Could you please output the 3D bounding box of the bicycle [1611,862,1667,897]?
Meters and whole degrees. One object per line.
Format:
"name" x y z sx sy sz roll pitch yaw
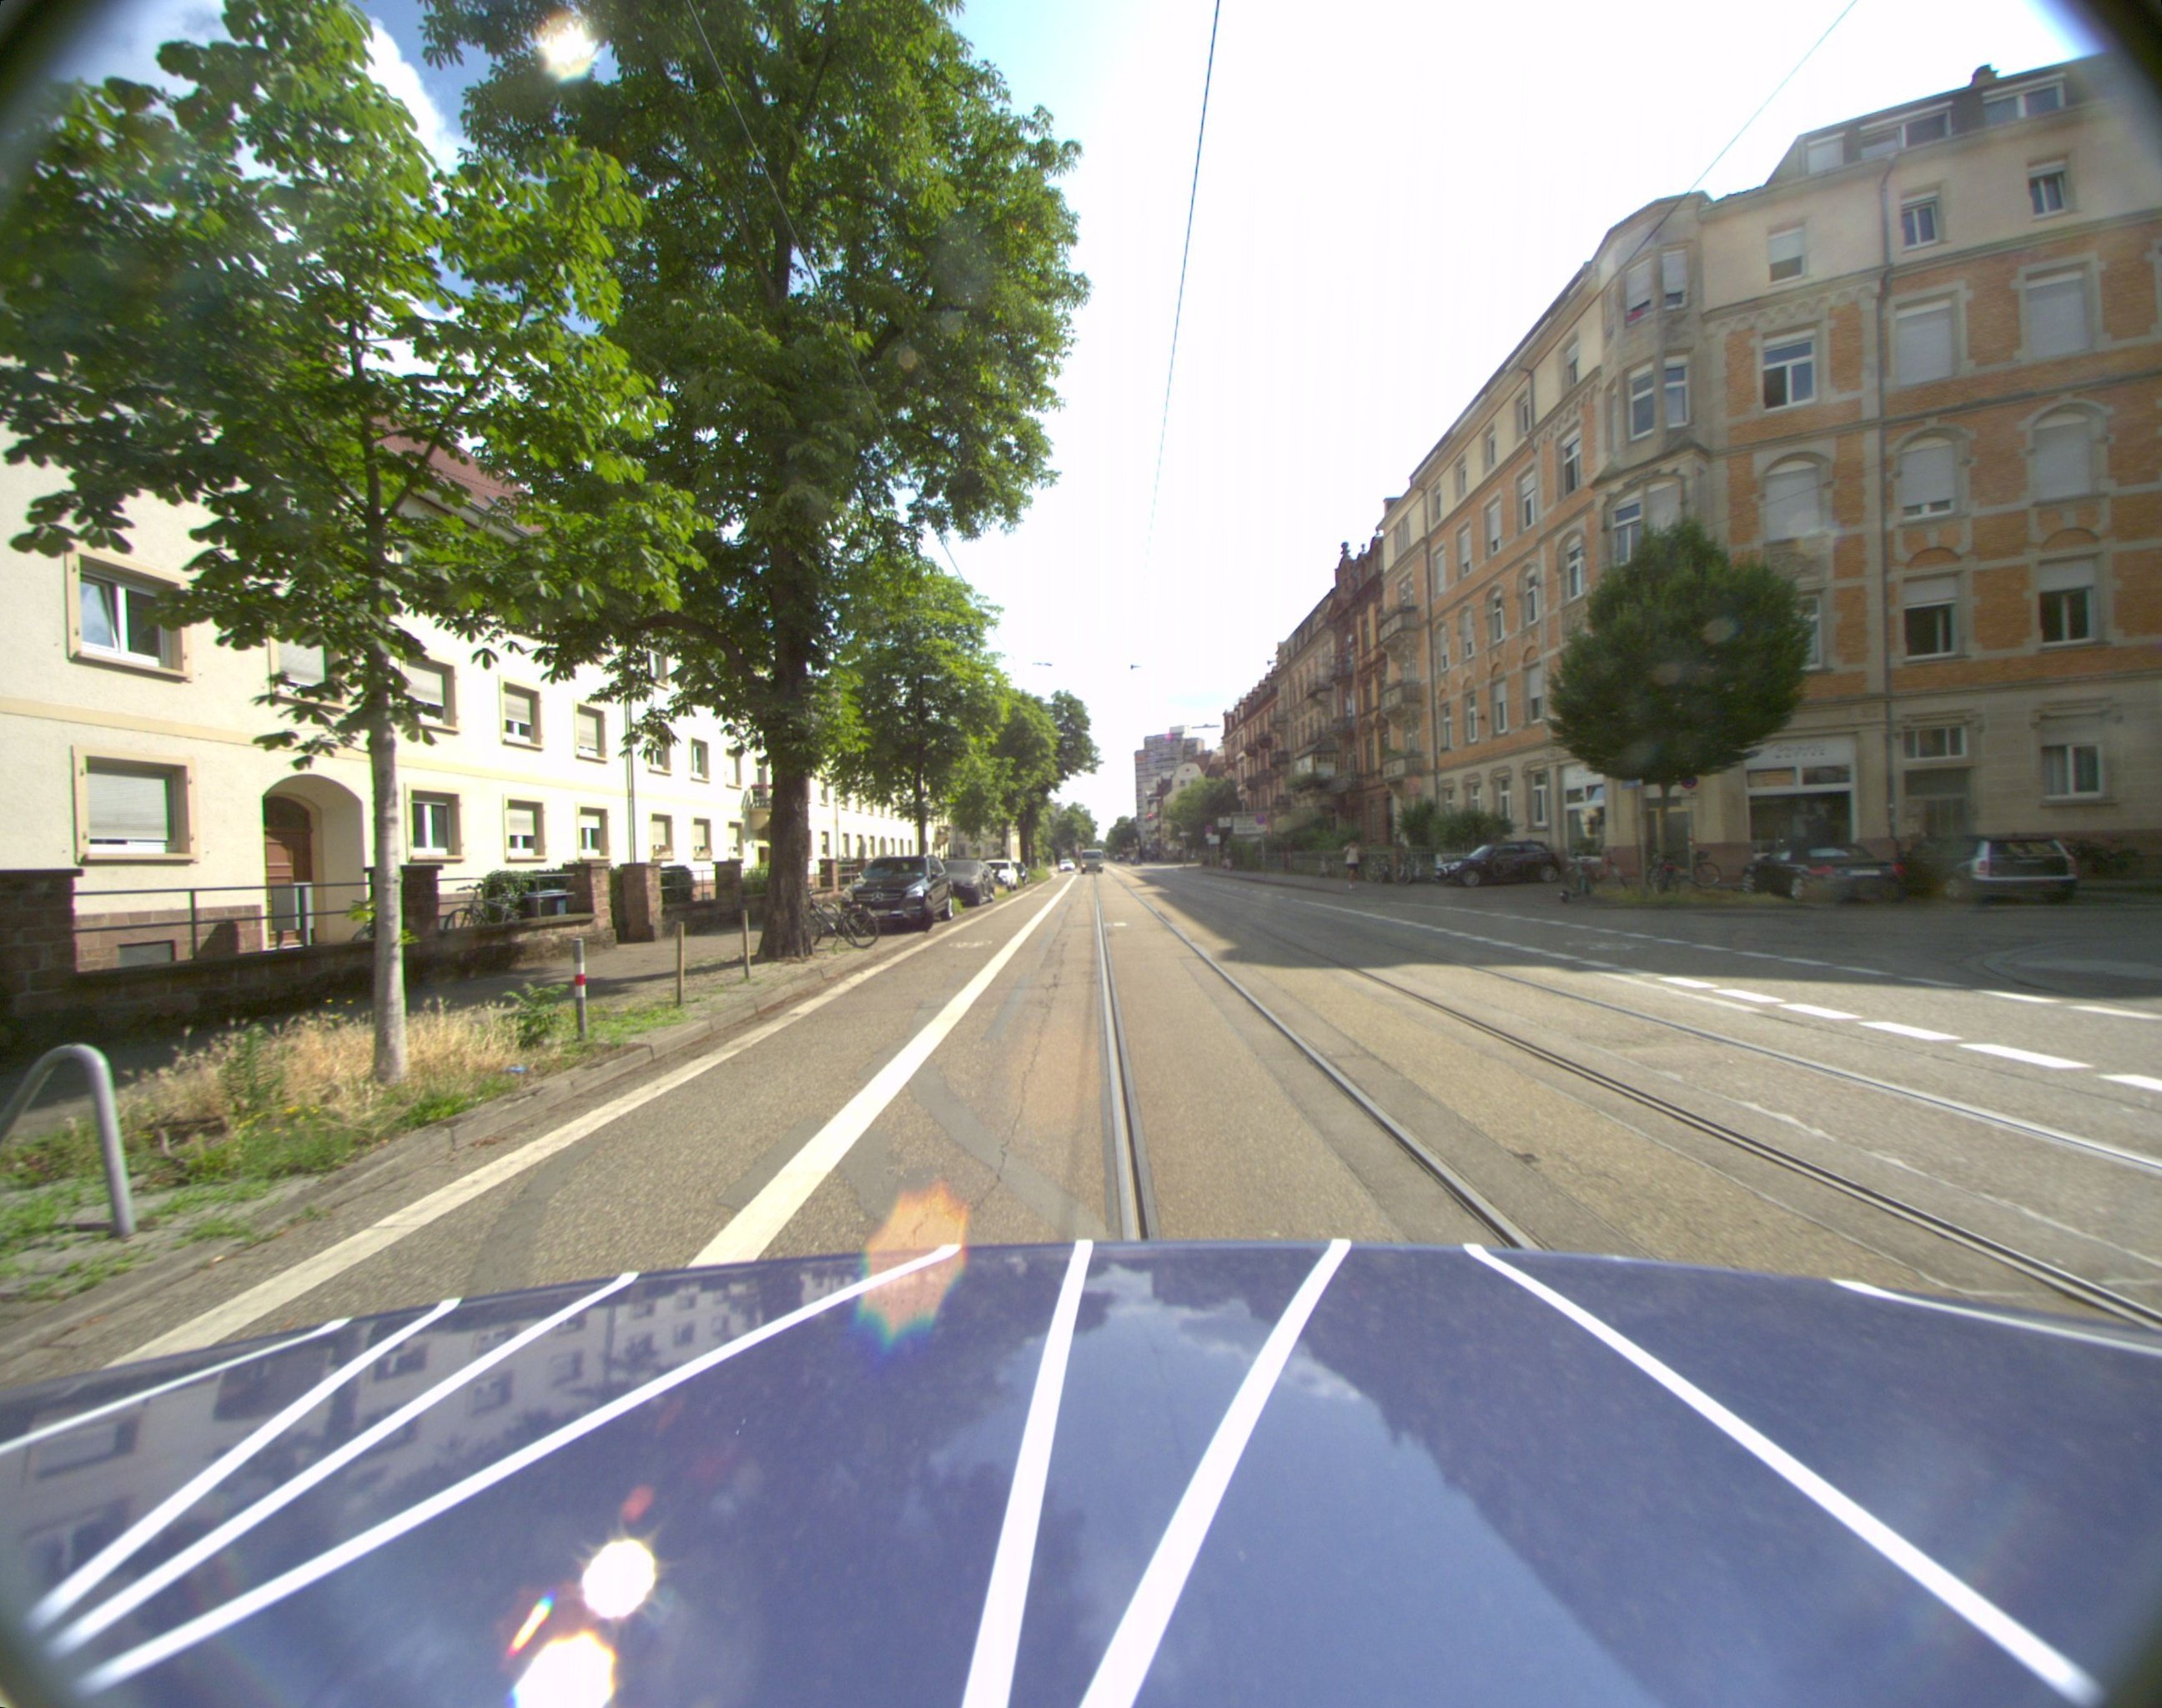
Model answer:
"bicycle" 14.380 0.646 19.623 0.524 0.833 1.700 -2 -1 14

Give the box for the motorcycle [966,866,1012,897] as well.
"motorcycle" -4.250 1.287 35.243 2.012 1.329 0.747 -2 1 -3

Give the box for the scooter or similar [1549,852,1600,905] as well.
"scooter or similar" 12.325 0.609 18.975 1.367 1.228 0.403 -3 1 -27

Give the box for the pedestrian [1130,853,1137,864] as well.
"pedestrian" 7.504 0.617 109.178 0.783 1.565 0.692 -2 0 -13

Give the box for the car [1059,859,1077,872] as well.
"car" -1.549 1.354 90.241 1.752 1.471 3.652 -4 0 -6

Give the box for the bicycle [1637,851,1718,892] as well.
"bicycle" 16.444 0.477 20.973 1.695 1.057 0.525 -2 0 11

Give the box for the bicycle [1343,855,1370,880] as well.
"bicycle" 11.571 0.552 31.994 0.422 0.971 1.949 -2 0 0

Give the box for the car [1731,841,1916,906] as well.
"car" 17.387 0.420 18.051 1.641 1.352 3.932 -2 0 20

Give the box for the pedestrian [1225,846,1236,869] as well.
"pedestrian" 11.357 0.247 57.807 0.489 1.693 1.151 -2 0 -1

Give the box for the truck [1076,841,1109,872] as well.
"truck" 1.011 0.261 71.505 2.532 2.722 6.513 -2 0 -3

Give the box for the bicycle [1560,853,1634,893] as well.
"bicycle" 14.591 0.524 21.510 1.759 1.057 0.524 -2 0 -4

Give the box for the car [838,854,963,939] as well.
"car" -4.224 0.924 18.607 1.831 1.772 4.733 -2 0 1

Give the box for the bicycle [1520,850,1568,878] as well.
"bicycle" 16.793 0.348 27.585 1.456 0.971 0.404 -2 0 1

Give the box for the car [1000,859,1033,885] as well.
"car" -4.034 1.101 48.011 1.665 1.512 4.287 -2 0 0

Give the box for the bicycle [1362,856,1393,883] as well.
"bicycle" 11.627 0.590 29.861 0.422 0.971 1.949 -2 0 0

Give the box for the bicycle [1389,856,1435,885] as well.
"bicycle" 11.918 0.597 27.354 1.456 0.971 0.404 -2 0 1

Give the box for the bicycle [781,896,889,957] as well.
"bicycle" -4.421 1.302 13.721 1.712 1.001 0.638 -2 0 1

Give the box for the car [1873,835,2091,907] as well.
"car" 19.929 0.340 17.052 1.641 1.407 3.794 -2 0 24

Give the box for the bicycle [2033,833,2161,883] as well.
"bicycle" 25.801 0.109 19.194 2.177 1.202 0.625 -2 0 19

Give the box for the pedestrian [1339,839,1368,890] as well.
"pedestrian" 9.802 0.366 27.370 0.534 1.750 1.106 -4 1 1

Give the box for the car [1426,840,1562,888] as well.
"car" 13.893 0.327 25.730 3.611 1.395 1.787 -3 0 5

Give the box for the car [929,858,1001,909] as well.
"car" -4.202 1.031 28.220 1.867 1.643 4.637 -2 0 1

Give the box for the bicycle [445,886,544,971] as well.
"bicycle" -9.466 1.168 12.320 0.304 1.237 1.459 -2 0 6

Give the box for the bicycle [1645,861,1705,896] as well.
"bicycle" 14.909 0.597 19.113 0.524 0.833 1.700 -2 -1 14

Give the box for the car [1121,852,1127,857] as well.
"car" 12.831 0.074 226.998 1.841 1.482 3.892 -2 0 1

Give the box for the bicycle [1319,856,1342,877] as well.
"bicycle" 11.803 0.577 36.012 0.422 0.927 1.949 -2 0 0

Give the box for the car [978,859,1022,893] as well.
"car" -4.115 1.104 39.264 1.746 1.571 4.248 -2 0 0
